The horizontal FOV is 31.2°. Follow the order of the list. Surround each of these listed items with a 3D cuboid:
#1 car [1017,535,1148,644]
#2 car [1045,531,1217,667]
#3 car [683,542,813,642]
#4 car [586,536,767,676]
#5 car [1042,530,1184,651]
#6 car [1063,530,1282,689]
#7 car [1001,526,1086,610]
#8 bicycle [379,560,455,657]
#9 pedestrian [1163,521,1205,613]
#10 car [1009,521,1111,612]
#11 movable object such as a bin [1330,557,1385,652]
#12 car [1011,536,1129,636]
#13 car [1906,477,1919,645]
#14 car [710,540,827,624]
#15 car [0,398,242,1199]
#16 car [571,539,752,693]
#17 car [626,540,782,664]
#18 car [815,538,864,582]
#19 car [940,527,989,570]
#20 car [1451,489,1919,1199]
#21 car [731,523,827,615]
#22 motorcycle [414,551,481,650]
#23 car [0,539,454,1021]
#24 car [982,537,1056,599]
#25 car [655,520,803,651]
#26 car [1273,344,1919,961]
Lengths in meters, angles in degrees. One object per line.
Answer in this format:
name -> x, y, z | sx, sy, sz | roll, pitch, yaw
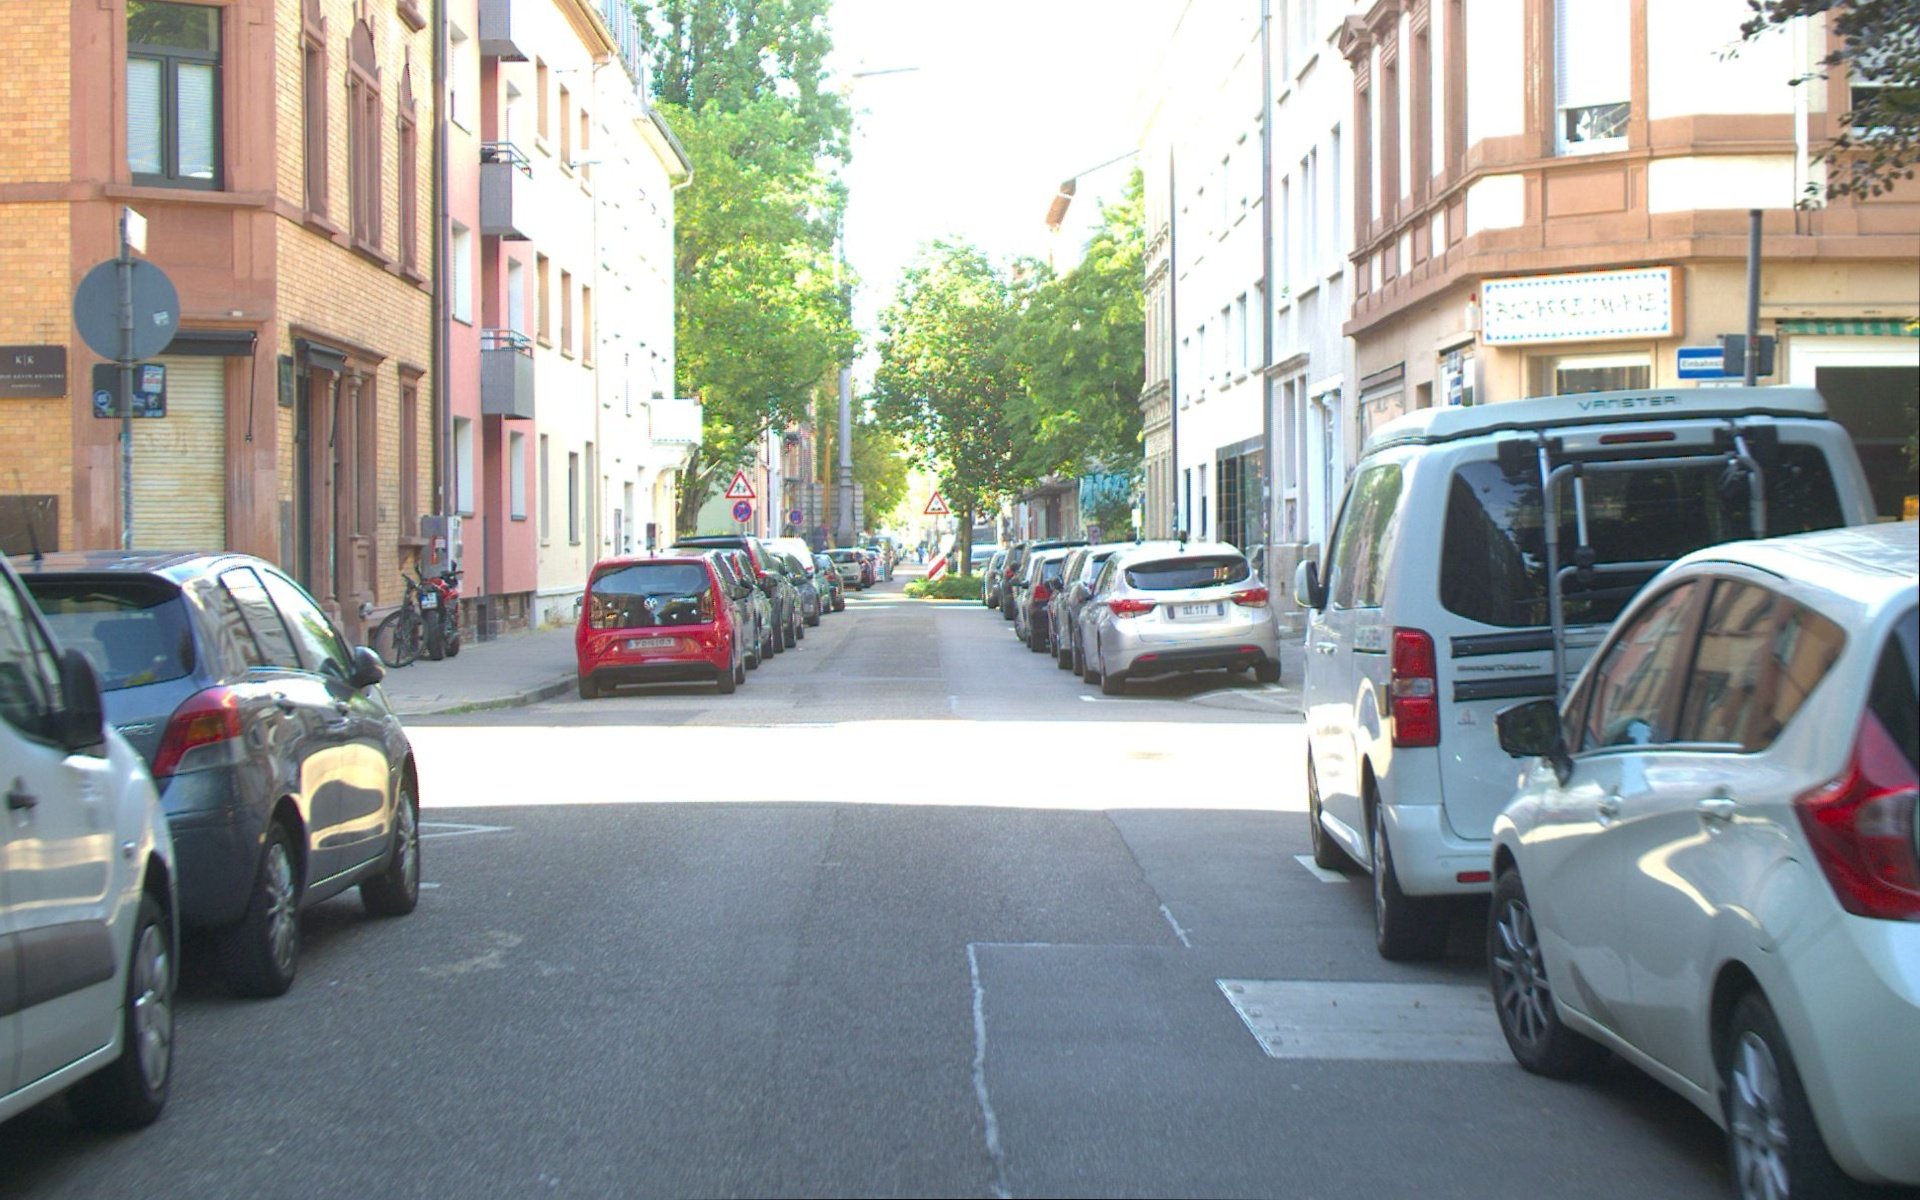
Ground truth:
car -> 1.793, -0.186, 51.360 | 1.676, 1.501, 3.938 | -2, 1, -1
car -> 2.021, -0.052, 41.567 | 1.744, 1.501, 4.021 | -2, 1, -1
car -> -3.467, -0.168, 56.927 | 1.743, 1.501, 4.346 | -2, 1, 1
car -> -3.357, 0.032, 41.398 | 1.695, 1.516, 4.096 | -2, 1, 1
car -> 2.038, -0.160, 46.646 | 1.598, 1.501, 4.185 | -2, 1, -1
car -> 2.173, 0.055, 36.183 | 1.743, 1.501, 4.358 | -2, 1, -3
car -> 1.757, -0.677, 73.243 | 1.676, 1.676, 4.094 | -2, 0, 1
bicycle -> -6.366, 0.084, 40.376 | 0.533, 1.070, 1.891 | 4, 1, 0
pedestrian -> 4.053, -0.601, 62.221 | 0.685, 1.654, 0.717 | -1, 1, -1
car -> 1.944, -0.681, 67.896 | 1.676, 1.621, 4.251 | -4, 1, -1
movable object such as a bin -> 4.472, 0.043, 38.663 | 0.514, 1.036, 0.619 | -2, 1, 0
car -> 1.766, -0.258, 56.233 | 1.676, 1.501, 3.938 | -2, 1, -1
car -> 2.552, 0.540, 3.109 | 1.739, 1.597, 4.265 | -5, 1, -5
car -> -3.658, -0.370, 66.348 | 1.674, 1.481, 3.991 | -2, 1, 5
car -> -2.950, 0.503, 7.403 | 1.831, 1.805, 4.572 | -2, 1, -1
car -> -3.131, 0.131, 36.634 | 1.628, 1.476, 3.601 | -2, 1, -1
car -> -3.397, -0.010, 46.221 | 1.656, 1.516, 3.944 | -2, 1, 1
car -> -4.358, -1.459, 124.890 | 1.676, 1.482, 4.095 | -2, 1, -1
car -> 0.152, -1.906, 126.396 | 1.676, 1.482, 3.638 | -2, 1, -1
car -> 2.388, 0.538, 8.284 | 1.719, 1.565, 3.829 | 0, 1, -2
car -> -3.704, -0.665, 70.875 | 1.765, 1.779, 4.039 | -2, 1, -1
motorcycle -> -6.371, -0.007, 42.794 | 0.533, 1.201, 1.909 | 0, 1, 0
car -> -3.020, 0.549, 12.835 | 1.692, 1.476, 3.973 | -2, 1, -1
car -> 1.469, -0.835, 87.429 | 1.676, 1.482, 4.095 | -2, 1, -1
car -> -3.412, -0.259, 51.593 | 1.743, 1.805, 4.672 | -2, 1, 1
car -> 2.416, 0.124, 13.892 | 1.914, 1.991, 4.792 | -2, 1, 2
